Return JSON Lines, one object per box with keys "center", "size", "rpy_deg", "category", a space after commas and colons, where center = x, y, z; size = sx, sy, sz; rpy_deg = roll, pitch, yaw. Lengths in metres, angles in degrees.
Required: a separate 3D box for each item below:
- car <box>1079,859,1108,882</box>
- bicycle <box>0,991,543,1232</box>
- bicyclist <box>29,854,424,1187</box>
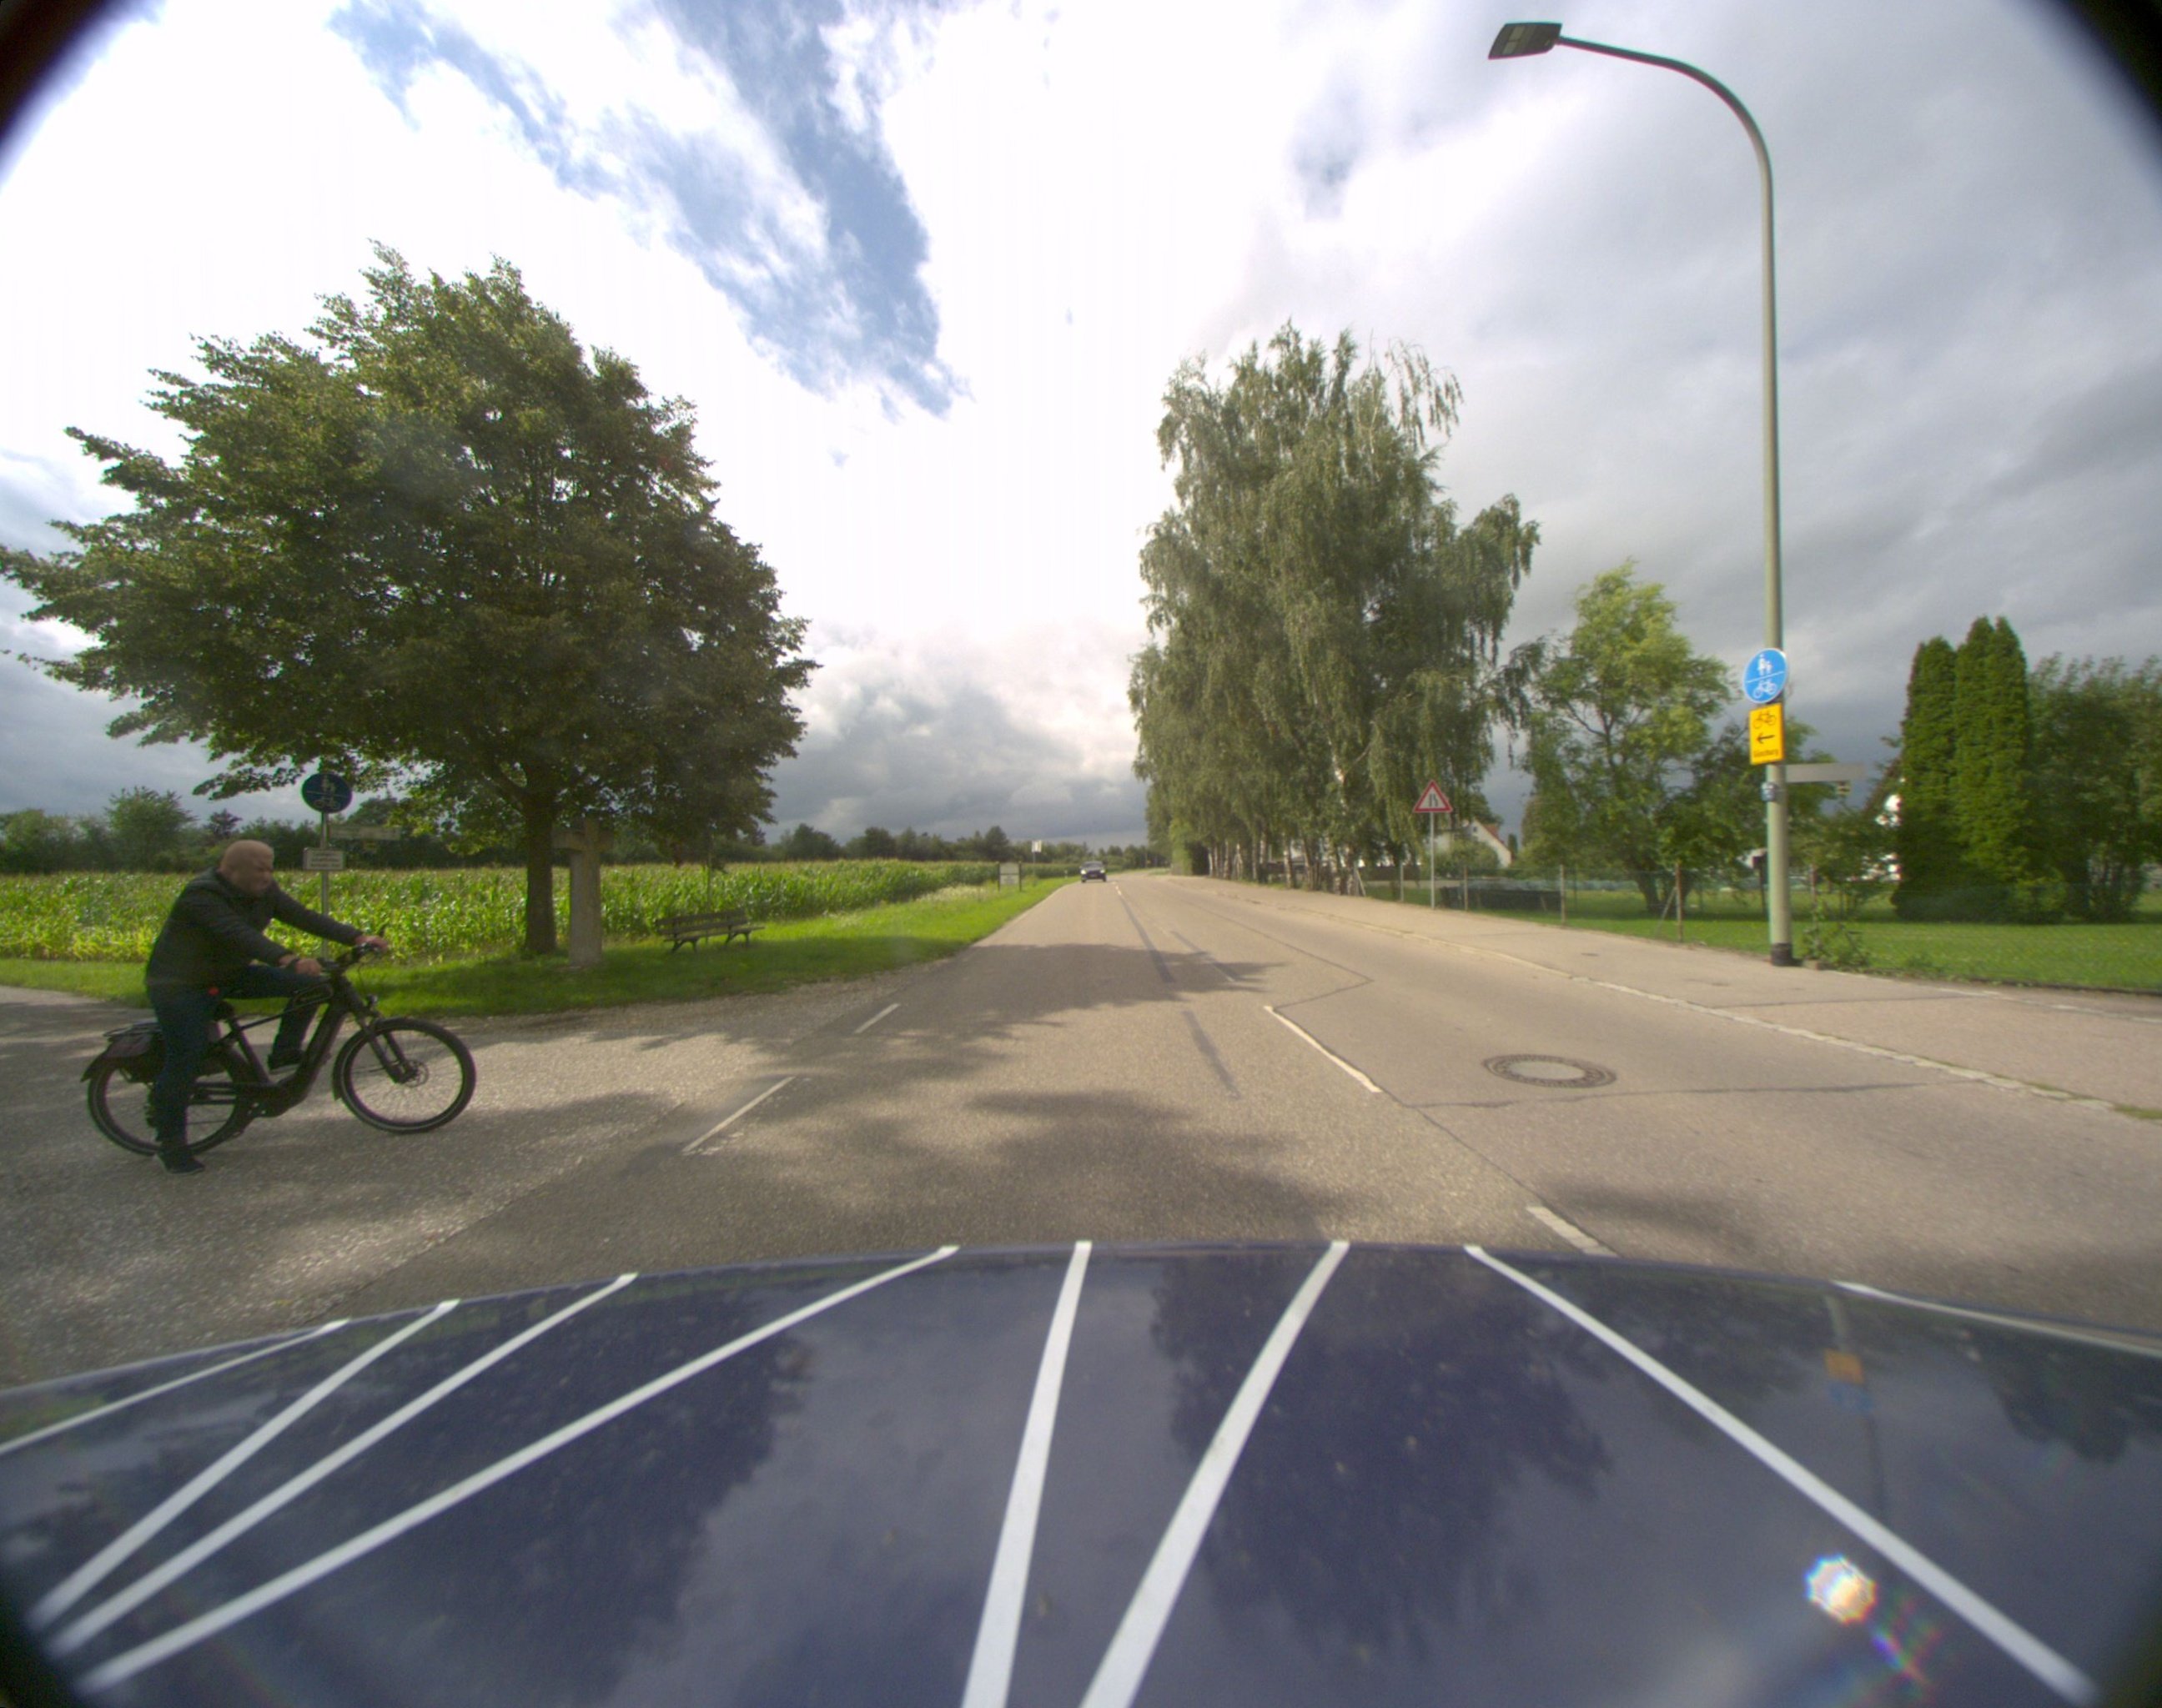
{"center": [0.941, 1.200, 57.181], "size": [1.998, 1.594, 4.001], "rpy_deg": [-2, -1, 3], "category": "car"}
{"center": [-4.551, 1.378, 4.362], "size": [2.123, 0.859, 1.053], "rpy_deg": [-2, 0, -13], "category": "bicycle"}
{"center": [-4.696, 0.818, 4.322], "size": [1.021, 1.576, 1.053], "rpy_deg": [-3, 0, -13], "category": "bicyclist"}
